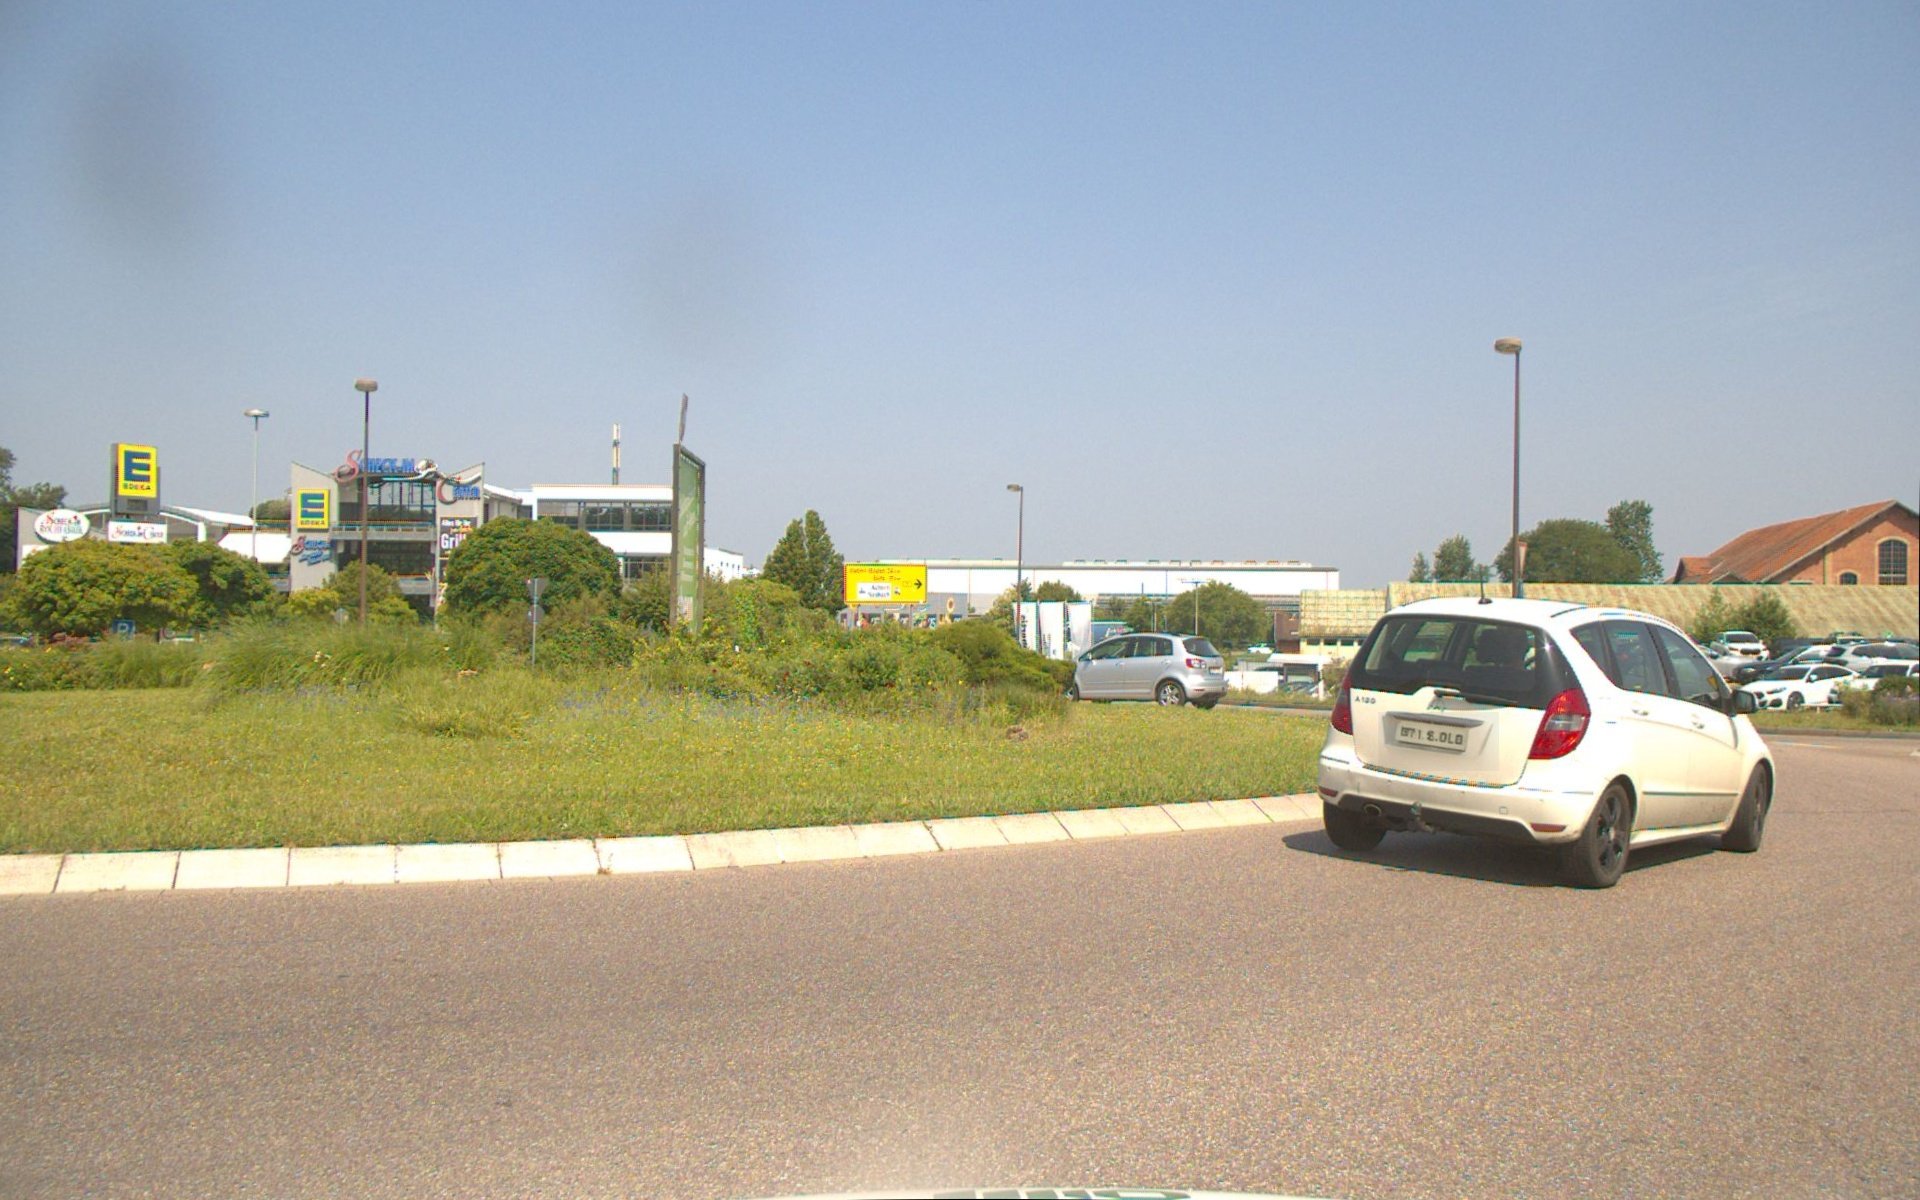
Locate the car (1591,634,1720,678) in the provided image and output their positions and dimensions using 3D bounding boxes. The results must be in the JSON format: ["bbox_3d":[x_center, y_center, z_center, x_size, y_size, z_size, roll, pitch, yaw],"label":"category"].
[{"bbox_3d":[27.368,2.198,65.198,4.358,1.663,1.951,0,-2,10],"label":"car"}]

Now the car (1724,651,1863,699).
[{"bbox_3d":[28.378,2.527,56.454,3.911,1.553,1.951,0,-1,16],"label":"car"}]

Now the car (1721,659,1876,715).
[{"bbox_3d":[25.501,2.631,50.282,4.503,1.598,1.755,0,-3,-24],"label":"car"}]

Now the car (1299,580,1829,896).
[{"bbox_3d":[4.031,0.754,10.709,1.757,1.631,3.865,2,0,45],"label":"car"}]

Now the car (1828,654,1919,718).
[{"bbox_3d":[27.602,2.486,48.340,4.601,1.598,1.750,-1,-1,-30],"label":"car"}]

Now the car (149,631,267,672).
[{"bbox_3d":[-30.647,2.124,67.457,3.902,1.602,2.001,0,-3,10],"label":"car"}]

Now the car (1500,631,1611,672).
[{"bbox_3d":[26.394,2.292,73.386,4.358,1.778,1.840,0,-2,10],"label":"car"}]

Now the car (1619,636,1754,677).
[{"bbox_3d":[27.535,2.136,62.822,4.358,1.526,1.951,0,-1,10],"label":"car"}]

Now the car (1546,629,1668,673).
[{"bbox_3d":[26.677,2.097,68.323,4.358,1.778,1.951,0,-2,10],"label":"car"}]

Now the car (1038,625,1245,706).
[{"bbox_3d":[3.871,1.387,35.283,3.992,1.557,1.783,1,-3,25],"label":"car"}]

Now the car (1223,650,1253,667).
[{"bbox_3d":[25.932,5.424,154.037,1.953,1.423,3.999,1,-3,22],"label":"car"}]

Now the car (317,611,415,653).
[{"bbox_3d":[-23.578,1.287,65.687,3.241,1.602,1.557,0,-3,10],"label":"car"}]

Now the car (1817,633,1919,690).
[{"bbox_3d":[30.304,1.993,53.769,3.910,1.781,1.951,-1,-1,10],"label":"car"}]

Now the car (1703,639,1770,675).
[{"bbox_3d":[36.060,2.617,76.953,1.876,1.624,4.307,0,-2,12],"label":"car"}]
